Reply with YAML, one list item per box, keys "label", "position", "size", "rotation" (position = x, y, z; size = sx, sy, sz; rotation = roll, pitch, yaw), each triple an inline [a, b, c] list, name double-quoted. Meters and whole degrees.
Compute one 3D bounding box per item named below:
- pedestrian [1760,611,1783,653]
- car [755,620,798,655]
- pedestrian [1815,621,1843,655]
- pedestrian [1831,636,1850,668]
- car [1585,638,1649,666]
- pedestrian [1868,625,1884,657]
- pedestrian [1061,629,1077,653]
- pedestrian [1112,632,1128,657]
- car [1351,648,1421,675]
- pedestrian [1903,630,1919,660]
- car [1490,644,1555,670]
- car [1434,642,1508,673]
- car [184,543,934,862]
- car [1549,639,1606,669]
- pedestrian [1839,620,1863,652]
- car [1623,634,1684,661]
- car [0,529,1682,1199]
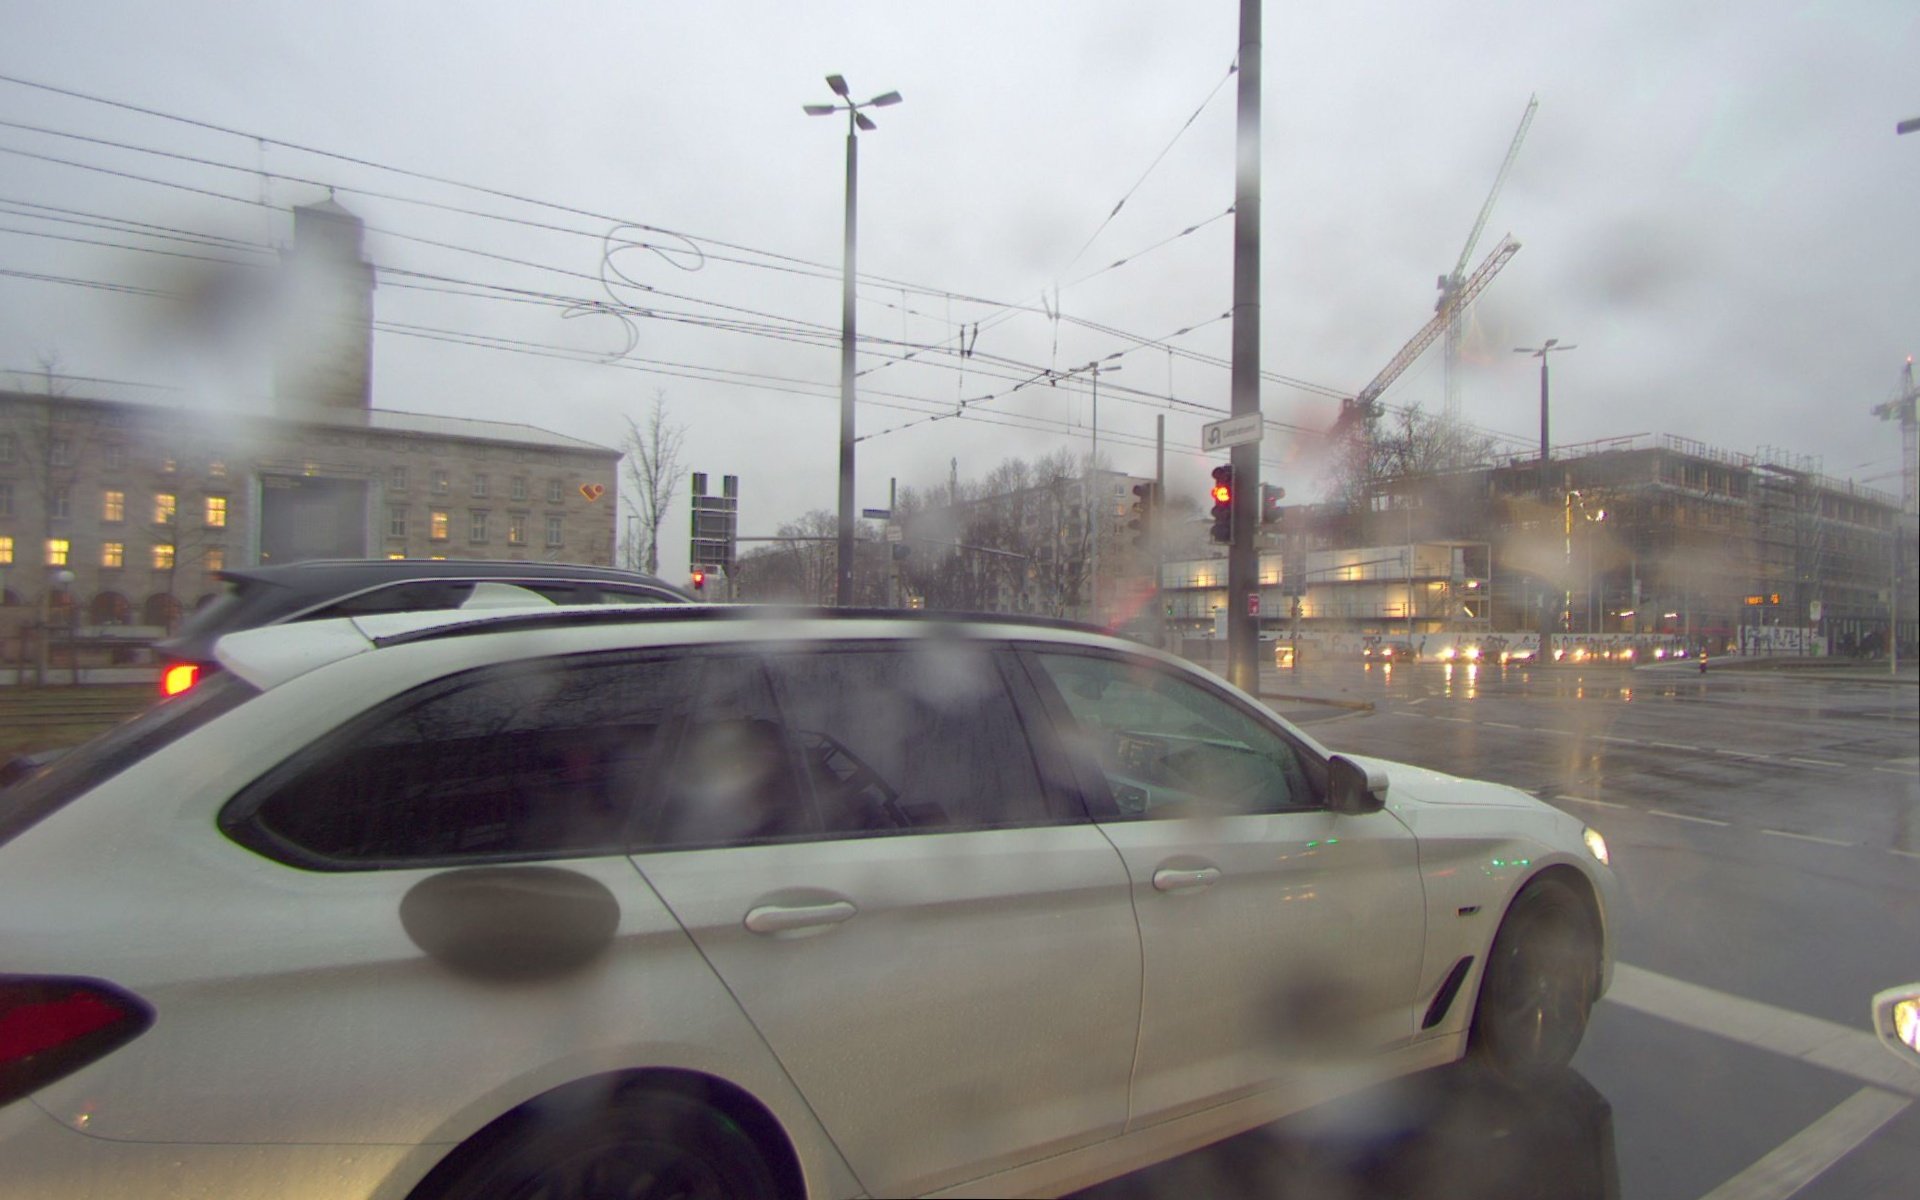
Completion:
- label: "pedestrian"
  position: [46.764, 1.854, 57.856]
  size: [0.754, 2.354, 0.761]
  rotation: [3, -1, -30]
- label: "car"
  position: [-13.362, 2.711, 72.923]
  size: [2.031, 2.454, 4.734]
  rotation: [1, -2, -24]
- label: "pedestrian"
  position: [52.920, 2.302, 61.160]
  size: [1.080, 2.040, 0.938]
  rotation: [2, 0, -29]
- label: "pedestrian"
  position: [53.955, 3.161, 61.536]
  size: [0.547, 1.906, 0.695]
  rotation: [2, 0, -30]
- label: "car"
  position: [45.503, 3.589, 69.582]
  size: [3.948, 1.814, 1.987]
  rotation: [2, 0, -27]
- label: "pedestrian"
  position: [57.362, 2.576, 62.888]
  size: [0.659, 1.994, 0.566]
  rotation: [2, 1, -36]
- label: "pedestrian"
  position: [8.951, 3.378, 82.463]
  size: [0.810, 1.959, 0.916]
  rotation: [2, 0, -36]
- label: "pedestrian"
  position: [12.634, 3.518, 79.164]
  size: [0.810, 1.959, 0.916]
  rotation: [2, 0, -36]
- label: "car"
  position: [25.956, 3.744, 61.179]
  size: [3.953, 1.550, 1.984]
  rotation: [2, -2, -30]
- label: "pedestrian"
  position: [67.493, 3.168, 71.122]
  size: [1.085, 2.040, 0.934]
  rotation: [2, 0, -40]
- label: "car"
  position: [34.933, 3.513, 62.336]
  size: [4.577, 1.550, 2.059]
  rotation: [2, -2, -40]
- label: "car"
  position: [29.230, 3.262, 57.490]
  size: [3.953, 1.679, 1.984]
  rotation: [2, -2, -30]
- label: "car"
  position: [-2.513, 0.600, 6.979]
  size: [4.238, 1.605, 1.958]
  rotation: [2, -2, -29]
- label: "car"
  position: [40.541, 3.525, 65.912]
  size: [3.963, 1.852, 1.852]
  rotation: [2, 0, -37]
- label: "pedestrian"
  position: [57.074, 2.296, 64.349]
  size: [1.085, 2.040, 0.934]
  rotation: [2, 0, -40]
- label: "car"
  position: [50.110, 3.416, 72.593]
  size: [3.948, 1.814, 1.987]
  rotation: [2, 0, -27]
- label: "car"
  position: [0.045, 0.743, 3.144]
  size: [4.508, 1.506, 2.007]
  rotation: [2, -2, -31]
